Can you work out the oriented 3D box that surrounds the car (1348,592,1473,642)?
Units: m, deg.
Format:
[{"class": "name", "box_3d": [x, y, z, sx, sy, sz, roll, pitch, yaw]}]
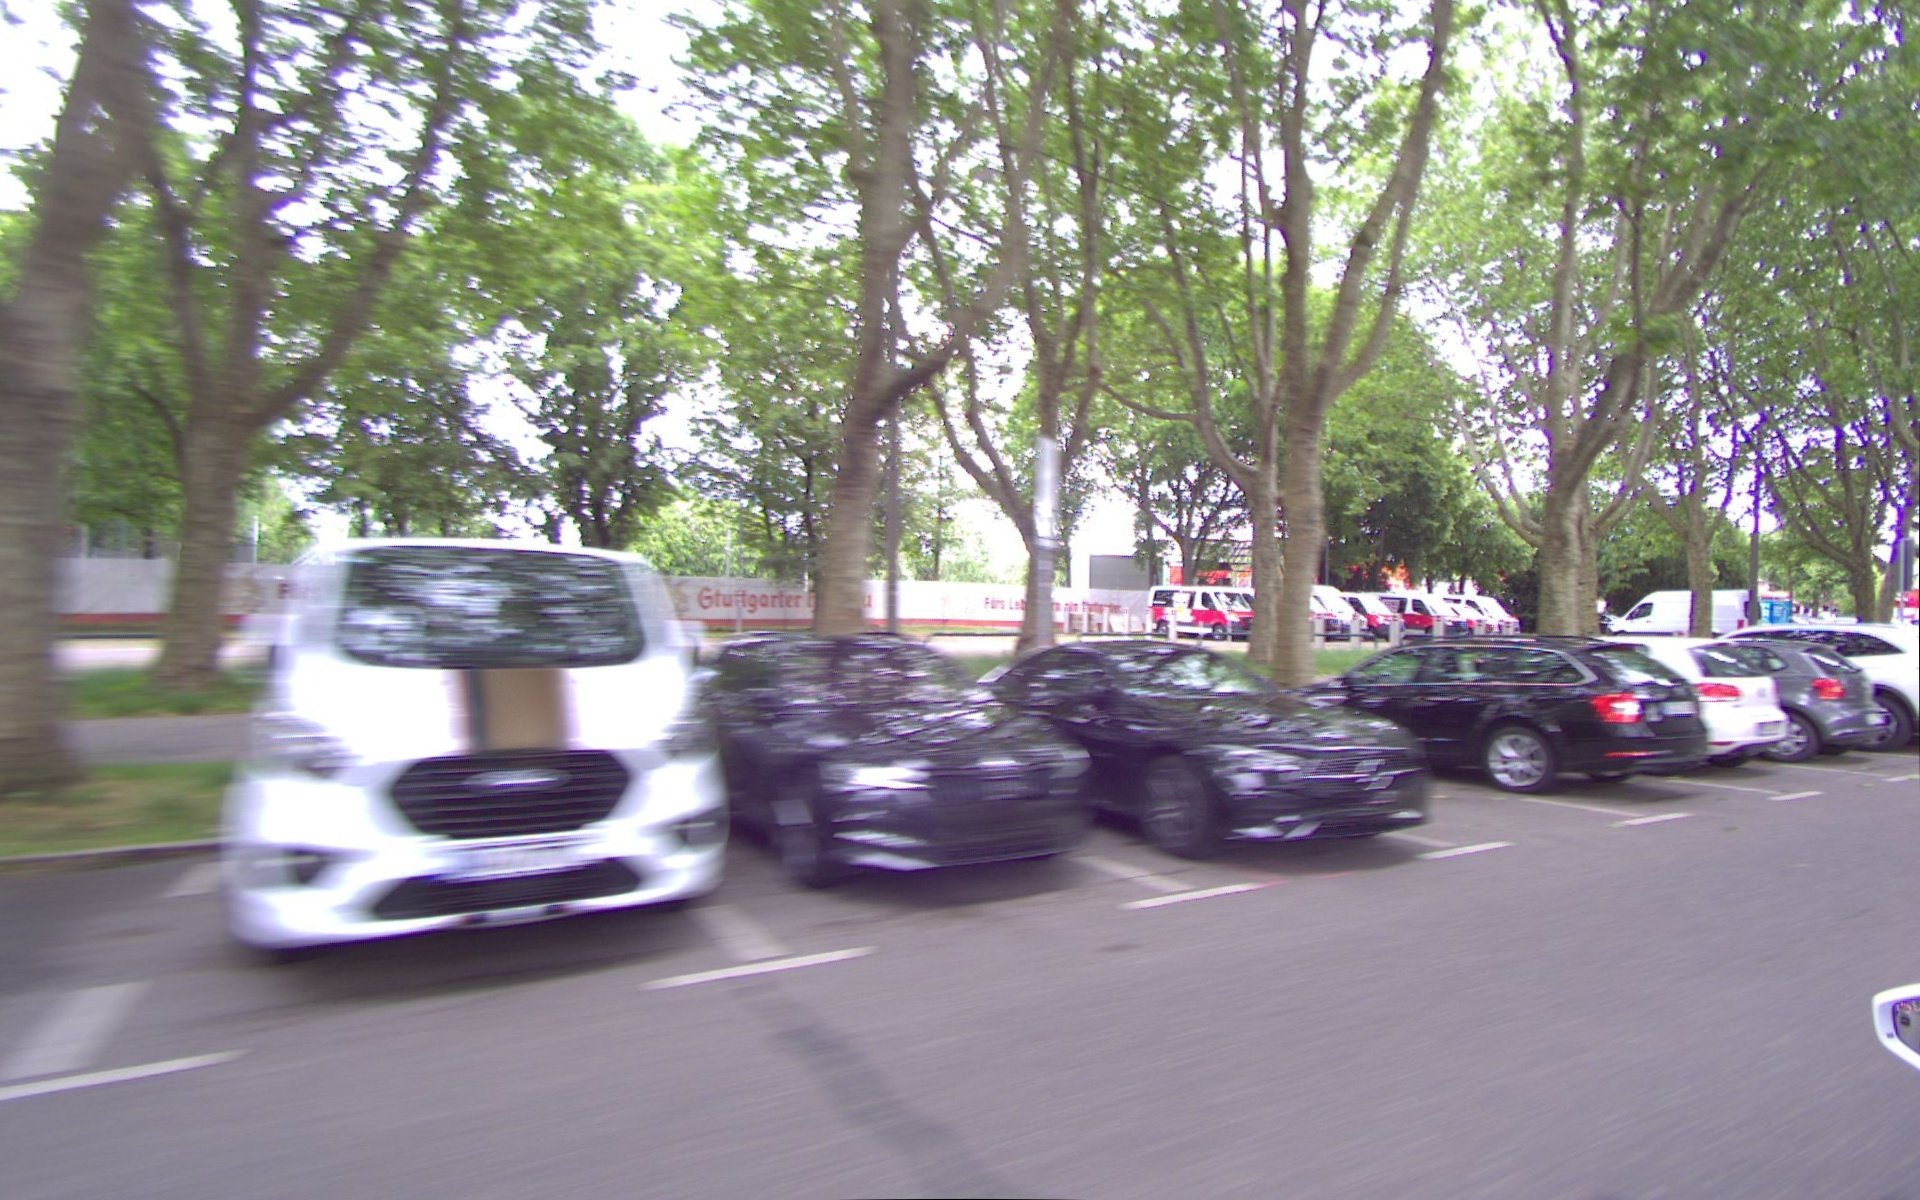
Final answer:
[{"class": "car", "box_3d": [23.388, 0.846, 52.455, 1.976, 2.361, 5.975, 1, 1, -29]}]

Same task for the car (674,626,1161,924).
[{"class": "car", "box_3d": [-0.667, 0.947, 7.349, 1.753, 1.471, 4.429, 1, -2, -30]}]

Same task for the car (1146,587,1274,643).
[{"class": "car", "box_3d": [10.979, 0.616, 44.676, 1.976, 2.283, 5.975, 1, 1, -29]}]

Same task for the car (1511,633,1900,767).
[{"class": "car", "box_3d": [9.662, 1.193, 13.326, 1.675, 1.490, 3.807, 1, -2, -32]}]

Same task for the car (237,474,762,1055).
[{"class": "car", "box_3d": [-2.910, 0.666, 6.154, 1.897, 2.046, 4.872, 1, -2, -30]}]

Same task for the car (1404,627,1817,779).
[{"class": "car", "box_3d": [7.565, 1.103, 12.047, 1.843, 1.493, 3.738, 1, -3, -30]}]

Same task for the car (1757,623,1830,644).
[{"class": "car", "box_3d": [60.566, 2.397, 73.040, 1.518, 1.368, 3.736, 1, 1, -30]}]

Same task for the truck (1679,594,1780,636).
[{"class": "truck", "box_3d": [54.147, 0.993, 70.758, 1.905, 2.779, 5.289, 1, 1, -29]}]

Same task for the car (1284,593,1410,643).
[{"class": "car", "box_3d": [19.168, 0.820, 50.086, 1.976, 2.270, 5.975, 1, 1, -29]}]

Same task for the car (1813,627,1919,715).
[{"class": "car", "box_3d": [18.565, 1.317, 18.527, 1.675, 1.629, 4.022, 2, -2, -32]}]

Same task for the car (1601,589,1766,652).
[{"class": "car", "box_3d": [32.696, 0.851, 45.602, 1.975, 2.632, 5.762, 1, 1, -28]}]

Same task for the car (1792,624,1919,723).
[{"class": "car", "box_3d": [16.668, 1.215, 16.842, 1.814, 1.629, 3.807, 1, -2, -32]}]

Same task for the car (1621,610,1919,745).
[{"class": "car", "box_3d": [11.827, 1.007, 14.105, 1.931, 1.649, 3.807, 1, -2, -32]}]

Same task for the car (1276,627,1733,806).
[{"class": "car", "box_3d": [5.383, 1.037, 10.476, 1.520, 1.490, 3.975, 1, -2, -32]}]

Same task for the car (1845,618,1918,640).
[{"class": "car", "box_3d": [74.034, 2.289, 80.735, 1.668, 1.611, 3.981, 1, 1, -20]}]

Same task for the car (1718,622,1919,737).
[{"class": "car", "box_3d": [14.199, 1.158, 15.153, 1.776, 1.629, 4.054, 1, -2, -27]}]

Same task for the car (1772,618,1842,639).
[{"class": "car", "box_3d": [63.862, 2.124, 75.750, 1.518, 1.368, 3.735, 1, 1, -31]}]

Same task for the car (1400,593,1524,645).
[{"class": "car", "box_3d": [27.364, 0.983, 55.022, 1.976, 2.561, 5.975, 1, 1, -29]}]

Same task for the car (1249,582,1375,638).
[{"class": "car", "box_3d": [17.111, 0.448, 49.208, 1.976, 2.561, 5.975, 1, 1, -29]}]

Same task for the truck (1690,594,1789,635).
[{"class": "truck", "box_3d": [56.216, 1.036, 72.569, 2.179, 2.779, 5.213, 1, 1, -29]}]

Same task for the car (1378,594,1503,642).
[{"class": "car", "box_3d": [25.487, 0.888, 53.588, 1.976, 2.336, 5.975, 1, 1, -29]}]

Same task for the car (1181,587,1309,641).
[{"class": "car", "box_3d": [12.924, 0.589, 46.006, 1.976, 2.283, 5.975, 1, 1, -29]}]

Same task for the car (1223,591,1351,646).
[{"class": "car", "box_3d": [15.239, 0.794, 47.226, 1.976, 2.349, 5.975, 1, 1, -29]}]

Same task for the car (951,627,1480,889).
[{"class": "car", "box_3d": [1.612, 0.975, 8.068, 1.750, 1.471, 4.437, 1, -2, -24]}]
